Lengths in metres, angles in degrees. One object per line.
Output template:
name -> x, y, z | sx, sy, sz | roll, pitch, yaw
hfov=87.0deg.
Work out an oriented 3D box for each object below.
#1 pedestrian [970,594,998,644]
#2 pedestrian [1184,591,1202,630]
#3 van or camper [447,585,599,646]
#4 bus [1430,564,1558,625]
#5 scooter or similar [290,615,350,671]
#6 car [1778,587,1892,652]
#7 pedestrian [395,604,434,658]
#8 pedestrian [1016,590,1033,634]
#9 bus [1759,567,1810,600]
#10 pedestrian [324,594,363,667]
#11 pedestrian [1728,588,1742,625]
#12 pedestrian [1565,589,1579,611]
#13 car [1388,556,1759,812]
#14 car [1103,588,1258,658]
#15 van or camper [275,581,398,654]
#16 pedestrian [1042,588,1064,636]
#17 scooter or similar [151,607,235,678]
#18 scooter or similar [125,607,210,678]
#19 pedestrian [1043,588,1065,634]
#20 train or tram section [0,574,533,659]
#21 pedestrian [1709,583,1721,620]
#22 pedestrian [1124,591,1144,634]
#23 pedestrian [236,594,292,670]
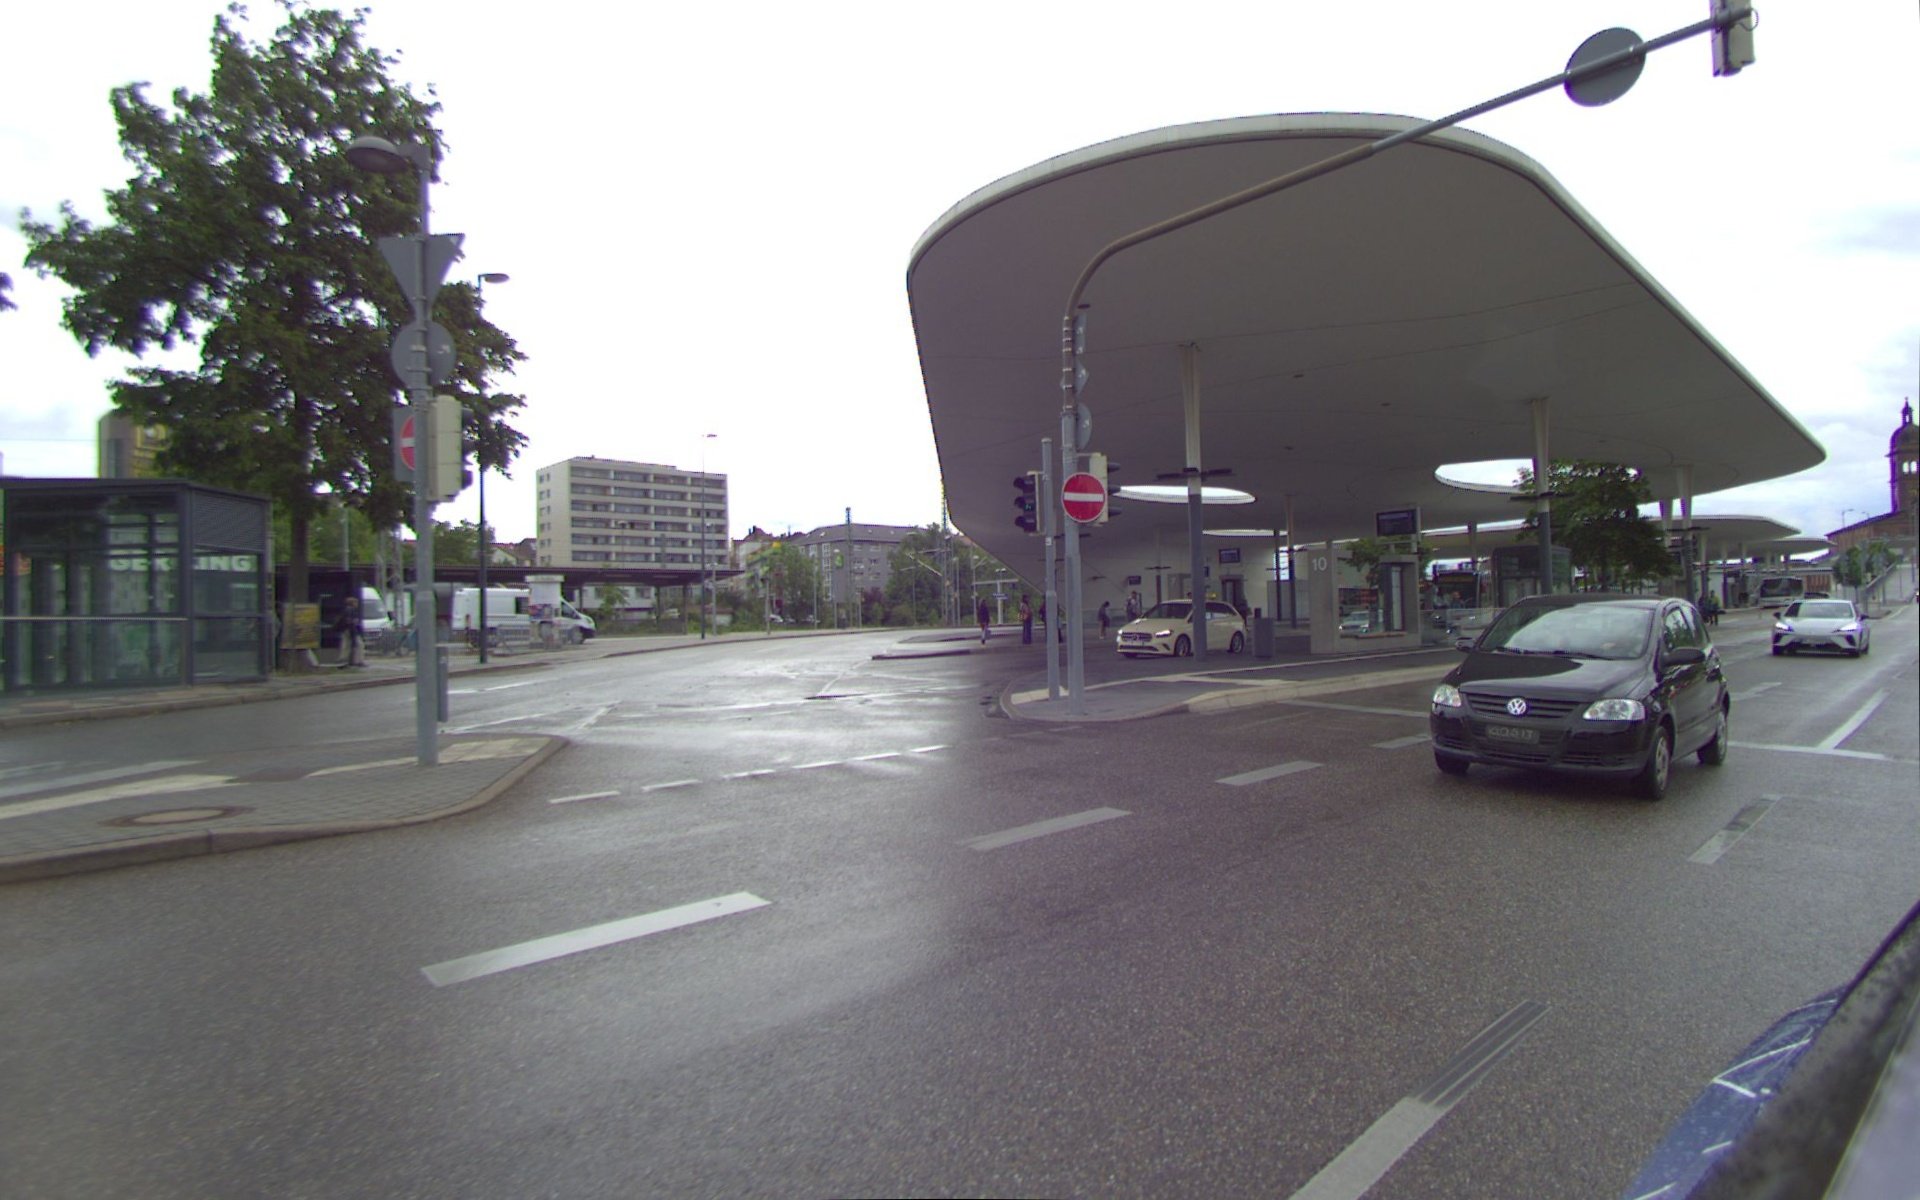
pedestrian -> 0.804, 0.624, 33.645 | 0.726, 1.615, 0.643 | 0, 1, -29
pedestrian -> 9.043, 0.403, 39.265 | 0.525, 1.533, 0.478 | 0, 0, -40
van or camper -> -18.974, 0.589, 44.122 | 5.767, 2.464, 1.995 | -1, 1, -44
bus -> 30.316, -0.292, 57.055 | 11.723, 3.121, 2.872 | 0, 0, -44
scooter or similar -> -14.555, 0.954, 23.045 | 0.328, 1.197, 1.299 | 0, 1, 13
car -> 23.575, 0.463, 27.219 | 3.979, 1.578, 1.809 | -1, 1, -41
pedestrian -> -16.188, 0.917, 30.051 | 0.629, 1.549, 0.836 | 0, 1, 17
pedestrian -> 2.260, 0.423, 35.436 | 0.469, 1.533, 0.536 | 0, 0, -9
bus -> 83.492, -1.632, 102.646 | 3.565, 3.137, 10.609 | 0, 0, 37
pedestrian -> -14.800, 0.712, 24.301 | 0.782, 1.688, 0.723 | 0, 1, -33
pedestrian -> 37.026, 0.302, 48.328 | 0.442, 1.786, 0.531 | -1, 0, 30
pedestrian -> 57.864, -0.038, 95.692 | 1.015, 2.039, 0.872 | 0, 1, 27
car -> 5.554, 0.529, 8.929 | 4.090, 1.723, 1.872 | -1, 1, -45
car -> 6.030, 0.550, 27.390 | 4.466, 1.702, 1.995 | -1, 1, -44
van or camper -> -22.785, 0.550, 36.879 | 5.838, 2.464, 2.134 | 1, 1, 41
pedestrian -> 3.004, 0.390, 32.587 | 0.470, 1.533, 0.534 | 0, 0, -39
scooter or similar -> -13.764, 0.745, 18.190 | 0.328, 1.197, 1.299 | 0, 1, 13
scooter or similar -> -14.336, 0.748, 18.346 | 0.328, 1.197, 1.299 | 0, 1, 13
pedestrian -> 3.117, 0.363, 33.637 | 0.470, 1.533, 0.534 | 0, 0, -39
train or tram section -> -40.853, 0.606, 60.148 | 28.825, 4.234, 4.595 | -1, 1, -44
pedestrian -> 36.584, 0.068, 49.035 | 0.443, 1.786, 0.529 | -1, 0, 40
pedestrian -> 6.285, 0.459, 36.537 | 0.525, 1.533, 0.478 | 0, 0, -40
pedestrian -> -15.763, 0.708, 22.924 | 0.781, 1.688, 0.723 | 0, 1, -5
